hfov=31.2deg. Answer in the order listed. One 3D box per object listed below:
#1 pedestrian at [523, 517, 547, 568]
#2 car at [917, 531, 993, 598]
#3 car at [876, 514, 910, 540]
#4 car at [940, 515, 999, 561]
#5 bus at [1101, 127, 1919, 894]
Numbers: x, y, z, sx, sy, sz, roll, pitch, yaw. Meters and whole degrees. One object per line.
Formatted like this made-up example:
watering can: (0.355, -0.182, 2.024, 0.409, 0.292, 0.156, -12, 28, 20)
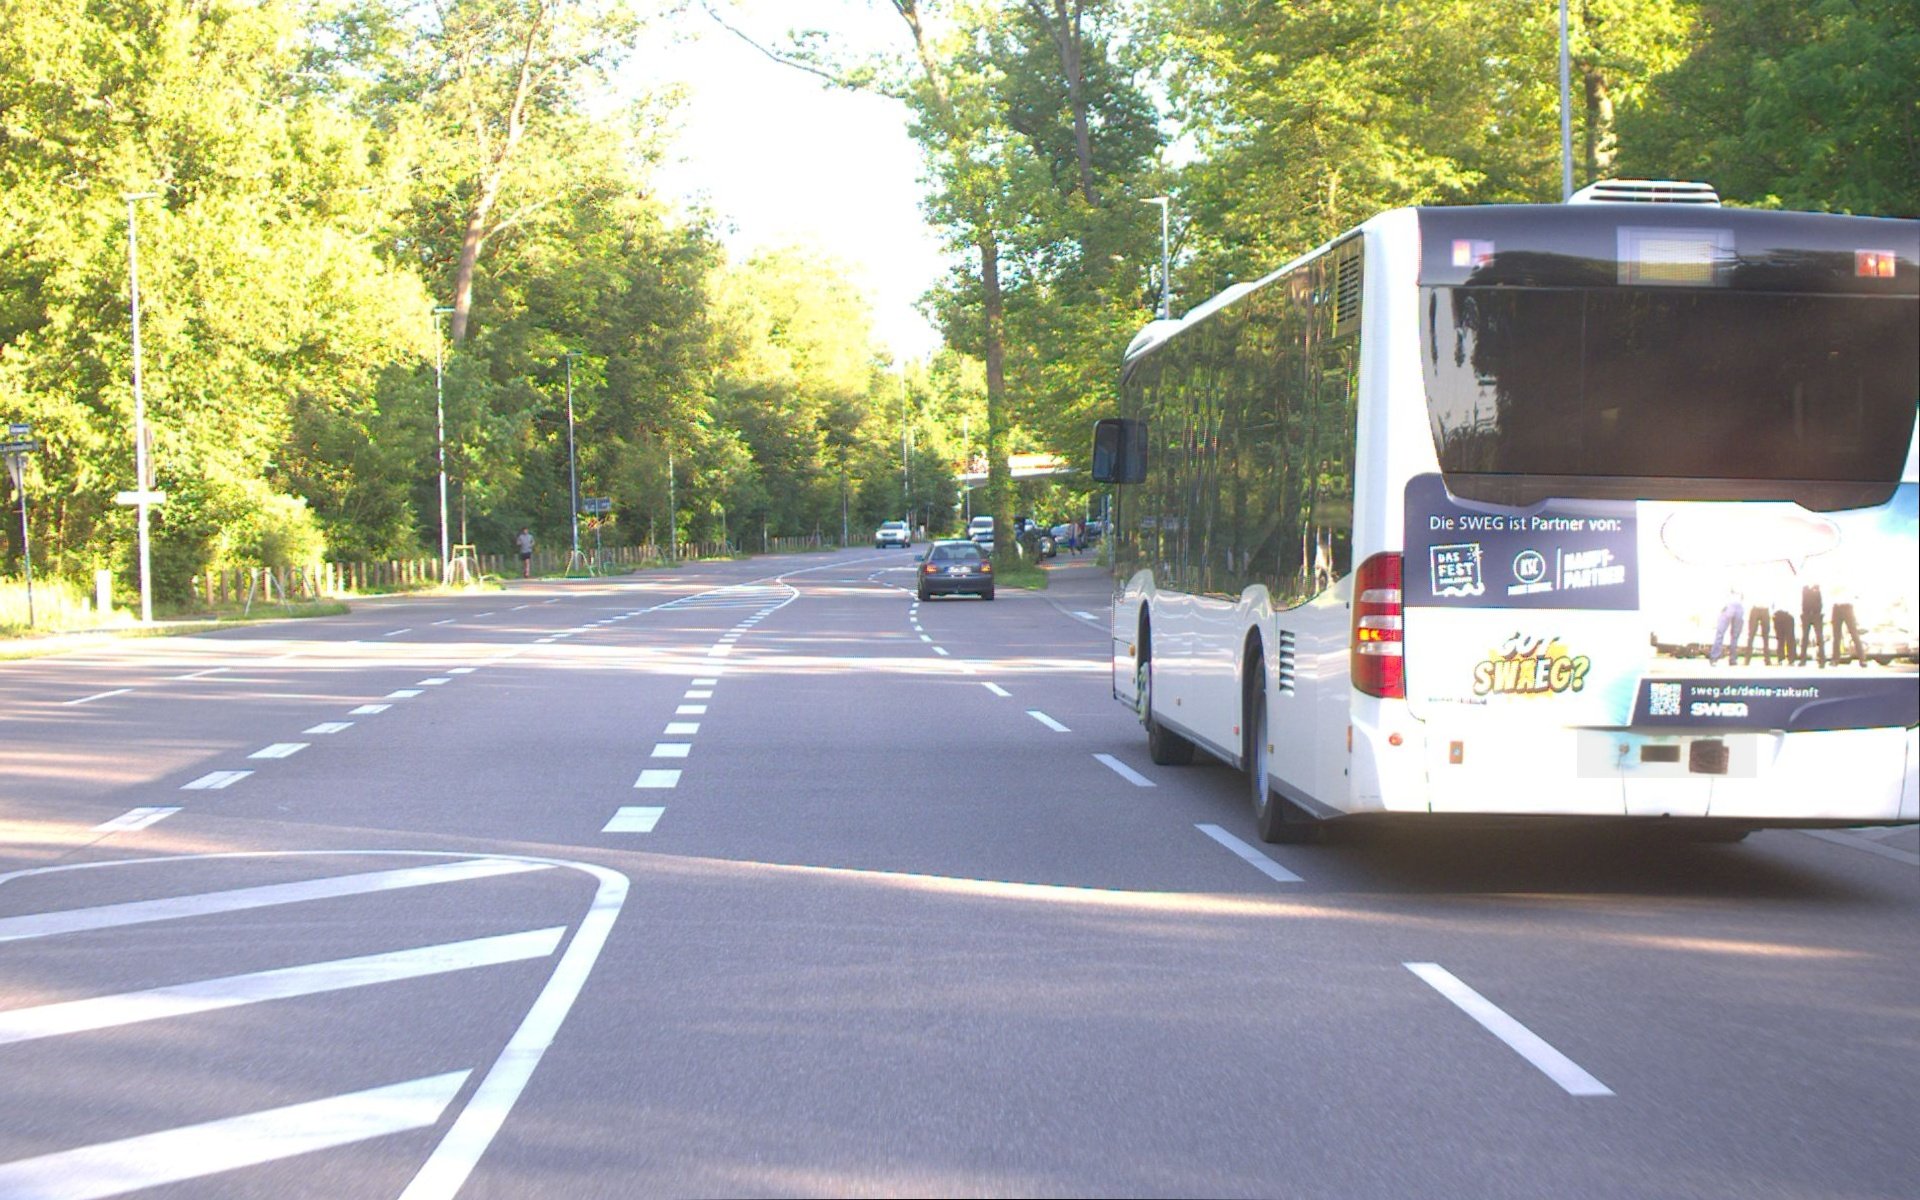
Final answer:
pedestrian: (-15.267, -2.076, 123.462, 0.779, 1.806, 0.770, -1, 1, -2)
car: (-0.095, -0.845, 81.228, 1.632, 1.542, 4.132, 0, 1, 2)
car: (-4.117, -4.487, 211.603, 1.863, 1.532, 4.132, 0, 1, 2)
car: (0.363, -2.253, 125.940, 1.632, 1.653, 4.131, 0, 1, 8)
bus: (2.607, -0.453, 19.646, 2.689, 3.032, 12.042, 0, 1, -2)
